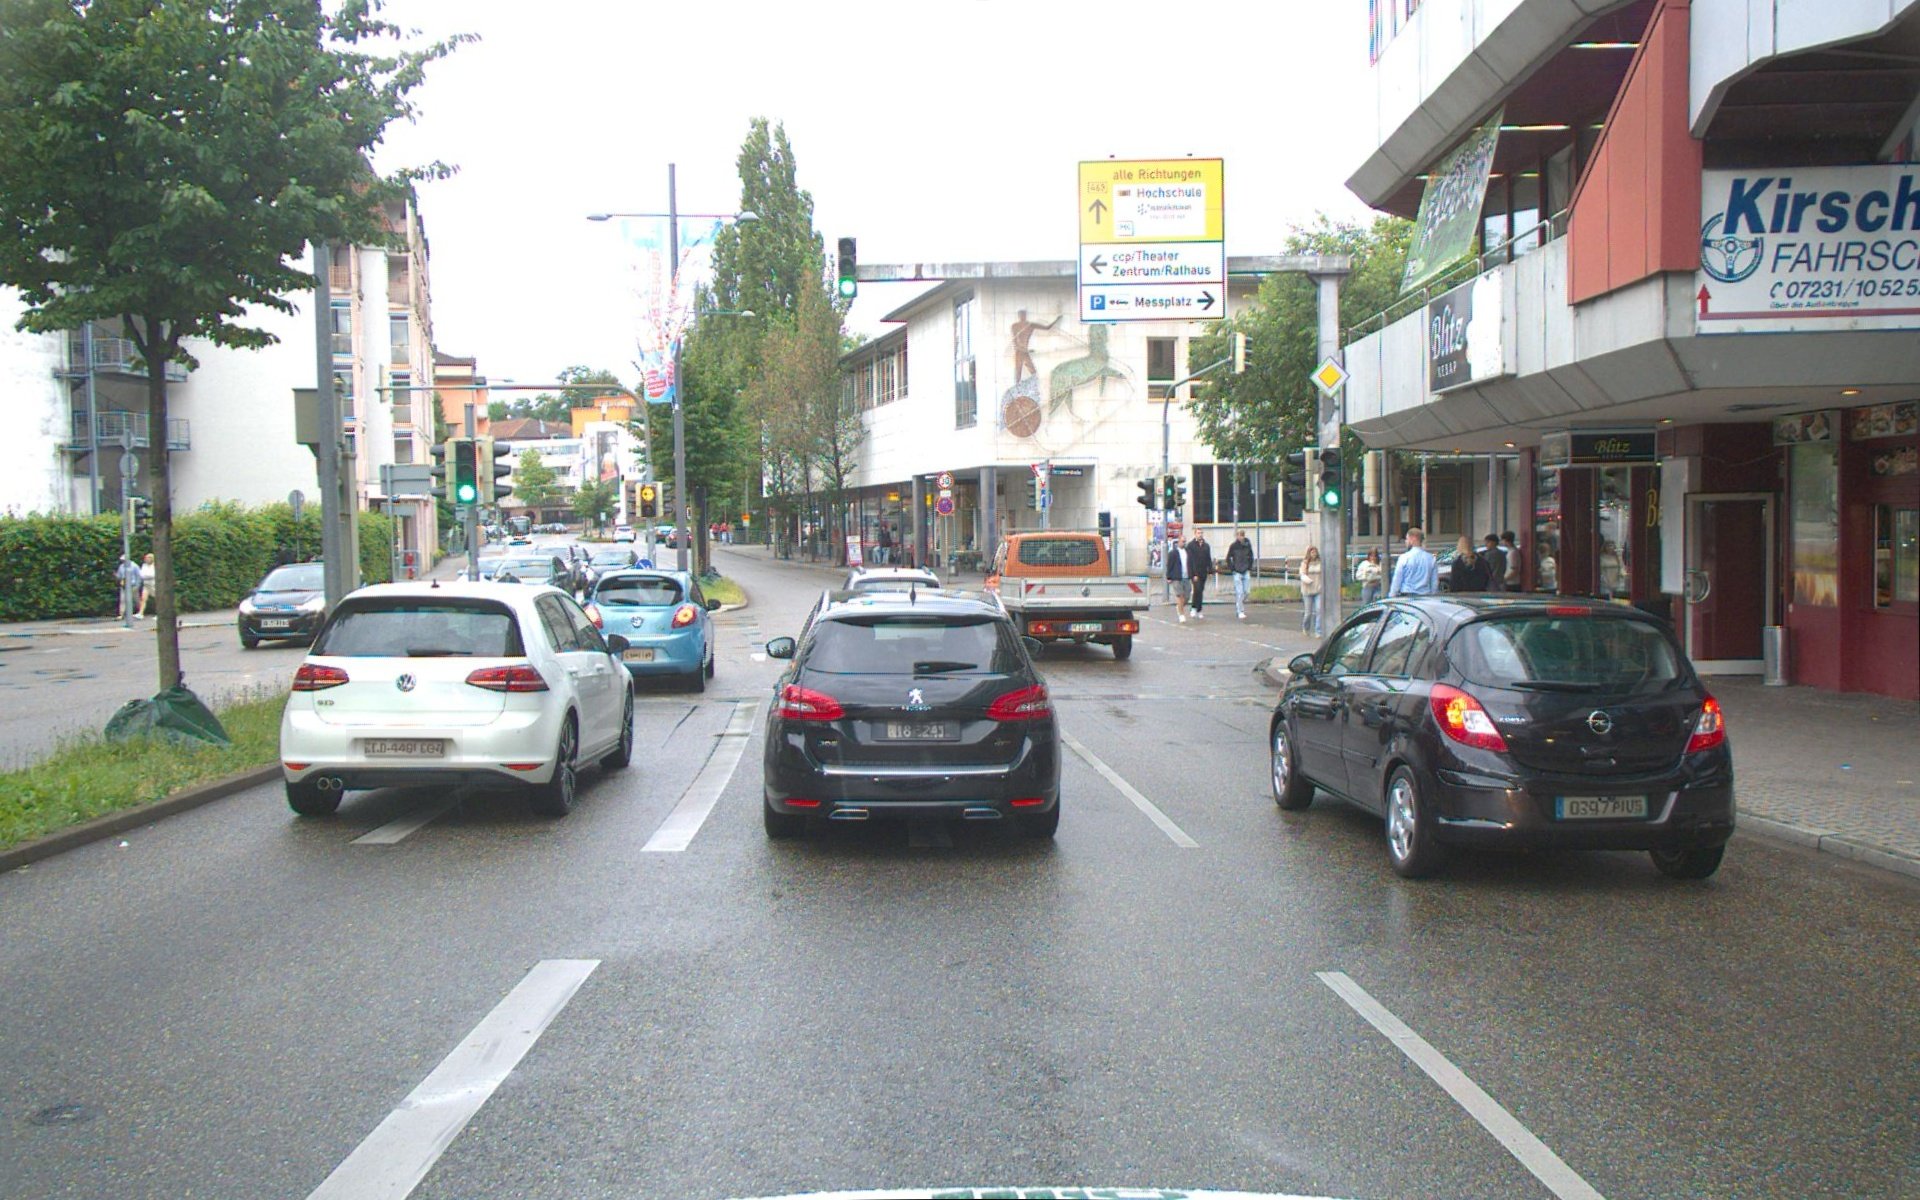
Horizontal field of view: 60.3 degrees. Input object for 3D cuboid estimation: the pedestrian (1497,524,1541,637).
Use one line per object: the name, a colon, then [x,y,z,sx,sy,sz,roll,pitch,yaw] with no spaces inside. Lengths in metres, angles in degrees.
pedestrian: [8.989,-0.317,26.612,0.515,1.794,0.511,-1,0,-2]

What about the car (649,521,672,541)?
car: [-25.747,-5.923,142.094,1.617,1.591,3.586,1,0,-15]

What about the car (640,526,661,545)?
car: [-28.576,-5.928,152.592,1.617,1.591,3.586,1,0,-15]

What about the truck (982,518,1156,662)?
truck: [1.647,-0.219,26.718,2.080,2.060,4.711,-2,2,-5]

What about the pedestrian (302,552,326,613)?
pedestrian: [-19.334,-0.521,49.507,0.516,1.795,0.630,-1,-1,-7]

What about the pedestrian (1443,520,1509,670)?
pedestrian: [6.347,-0.060,20.365,0.609,1.804,0.677,-1,0,3]

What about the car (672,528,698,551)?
car: [-21.139,-4.668,126.982,1.617,1.591,3.586,1,0,-15]

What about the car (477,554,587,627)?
car: [-9.907,-0.247,38.577,1.679,1.504,3.955,-3,1,-4]

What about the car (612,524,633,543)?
car: [-30.429,-5.975,149.084,1.617,1.591,3.586,1,0,-15]

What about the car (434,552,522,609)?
car: [-14.200,-0.606,48.926,1.639,1.541,3.642,-3,2,-3]

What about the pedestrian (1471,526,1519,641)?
pedestrian: [8.465,-0.254,26.179,0.583,1.794,0.492,-1,0,-2]

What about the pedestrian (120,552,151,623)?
pedestrian: [-21.239,-0.319,42.629,0.516,1.795,0.592,1,2,-5]

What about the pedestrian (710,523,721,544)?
pedestrian: [-19.407,-5.283,131.307,0.705,1.647,0.766,-3,3,-15]

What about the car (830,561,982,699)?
car: [-0.793,0.308,21.696,1.760,1.509,3.997,-2,3,-5]

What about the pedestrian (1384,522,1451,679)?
pedestrian: [5.619,0.002,20.353,0.609,1.879,0.848,-1,0,3]

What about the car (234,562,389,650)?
car: [-12.528,0.068,32.174,1.586,1.517,3.877,-3,2,-3]

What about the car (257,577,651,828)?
car: [-3.345,0.578,11.729,1.730,1.434,3.998,1,1,-3]

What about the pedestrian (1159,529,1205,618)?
pedestrian: [4.650,-0.555,34.675,0.734,1.810,0.887,-1,1,-7]

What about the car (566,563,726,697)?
car: [-4.004,0.318,21.559,1.662,1.499,3.687,-1,2,-5]

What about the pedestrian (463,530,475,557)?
pedestrian: [-34.172,-3.940,115.201,0.686,1.825,0.956,-1,2,-12]

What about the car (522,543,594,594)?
car: [-14.719,-1.170,60.808,1.791,1.766,4.308,-2,2,-4]

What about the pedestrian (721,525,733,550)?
pedestrian: [-17.697,-4.747,125.602,0.643,1.797,0.919,-3,3,-15]

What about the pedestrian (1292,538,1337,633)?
pedestrian: [6.523,-0.282,30.483,0.562,1.691,0.940,-3,2,-1]

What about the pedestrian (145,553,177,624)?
pedestrian: [-20.645,-0.307,42.738,0.516,1.795,0.592,2,1,-5]

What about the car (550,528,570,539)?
car: [-60.537,-10.055,250.168,1.634,1.591,3.548,1,0,-40]

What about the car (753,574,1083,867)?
car: [-0.253,0.615,10.832,1.758,1.509,4.000,0,2,-1]

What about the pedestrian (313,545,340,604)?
pedestrian: [-19.544,-0.788,51.048,0.629,1.795,0.591,-1,-1,-7]

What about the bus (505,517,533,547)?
bus: [-51.043,-7.912,191.298,2.701,3.128,12.185,-2,4,-17]

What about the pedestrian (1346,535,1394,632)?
pedestrian: [7.563,-0.313,30.517,0.576,1.735,0.971,-3,2,-1]

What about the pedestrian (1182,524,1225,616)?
pedestrian: [5.258,-0.643,35.728,0.743,1.934,0.789,-1,1,-3]

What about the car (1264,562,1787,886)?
car: [3.066,0.551,9.820,1.674,1.482,3.741,0,2,-3]

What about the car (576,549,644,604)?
car: [-11.037,-0.776,52.393,1.591,1.582,3.657,-2,3,-5]

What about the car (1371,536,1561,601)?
car: [12.394,-0.800,40.576,4.190,1.444,1.780,-2,3,-16]

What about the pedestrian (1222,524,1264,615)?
pedestrian: [6.095,-0.654,35.673,0.718,1.928,0.676,-1,1,-4]
